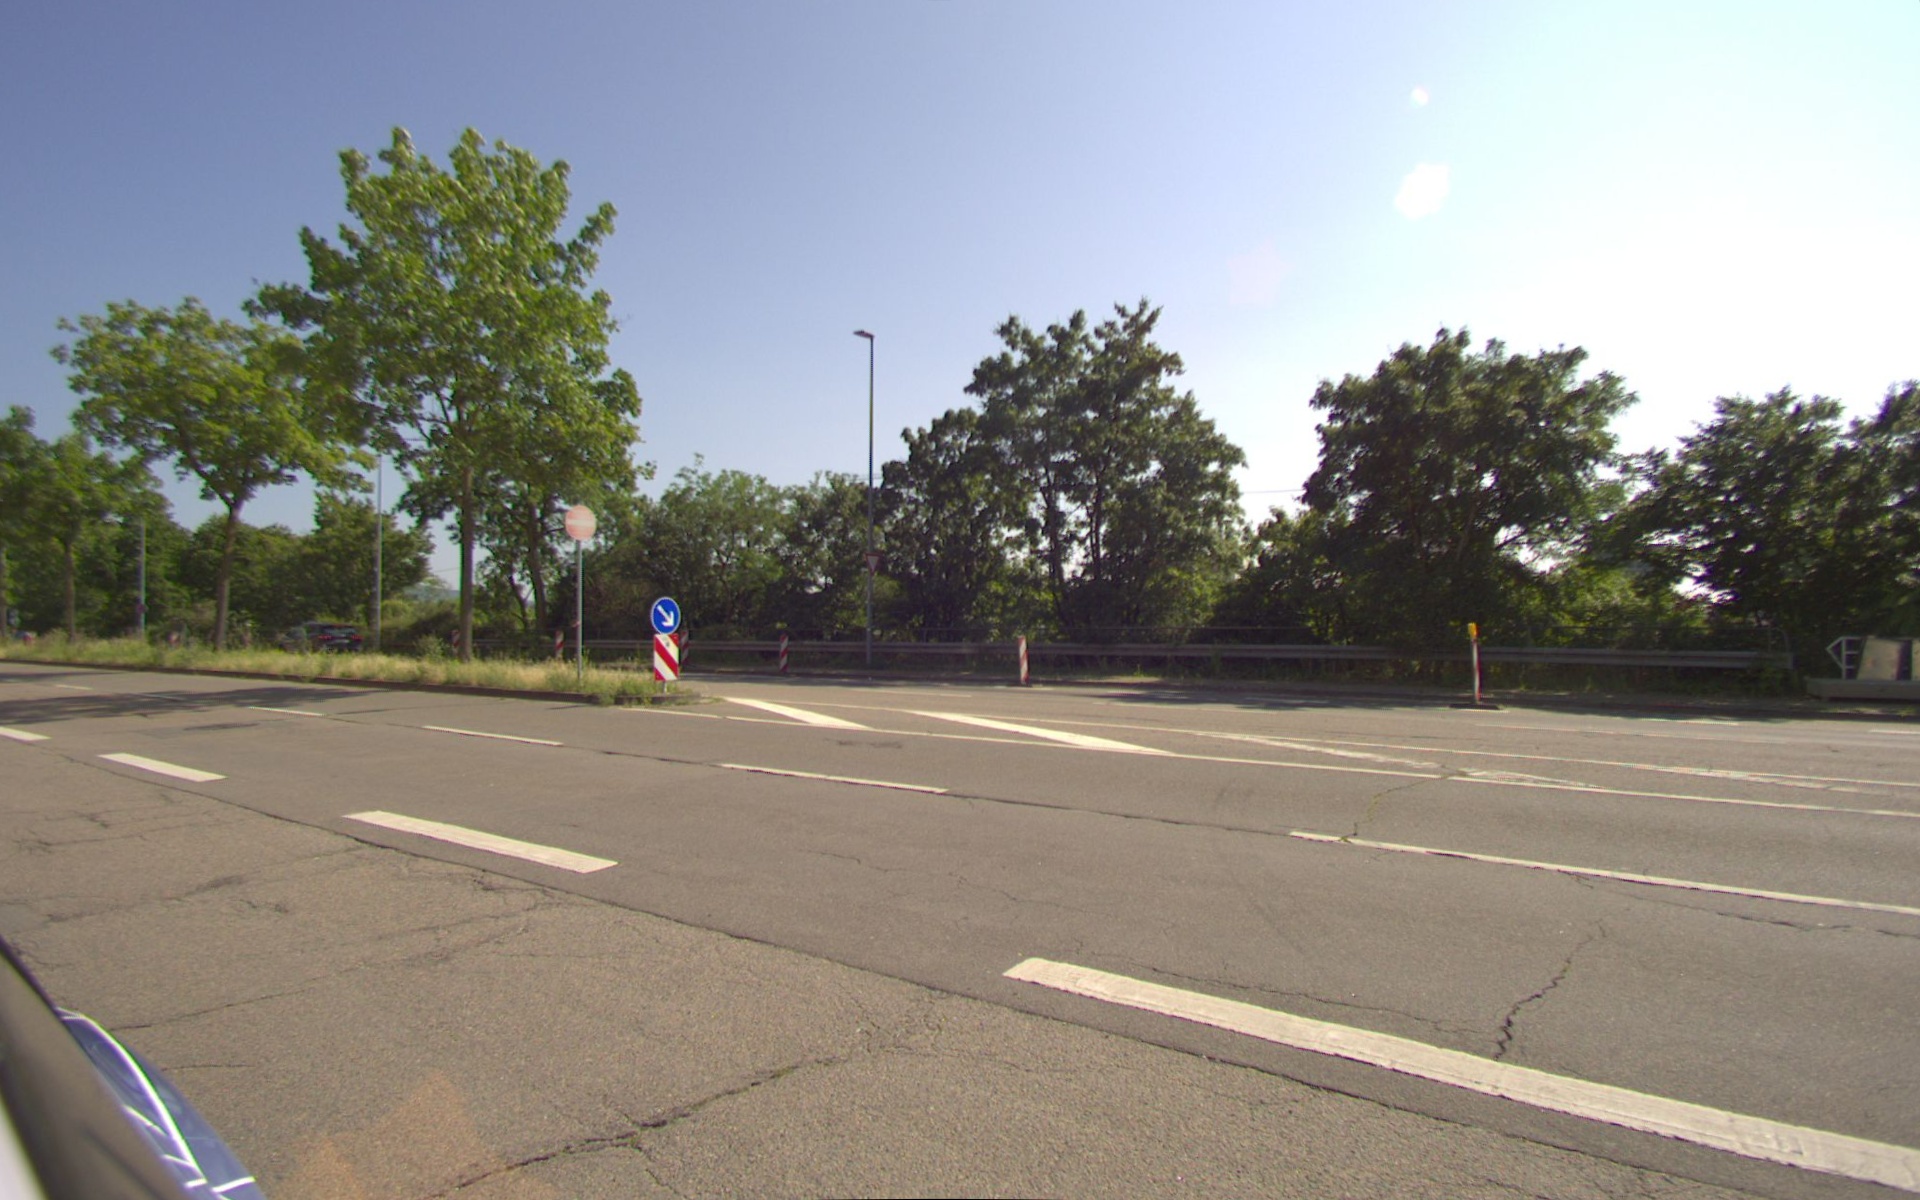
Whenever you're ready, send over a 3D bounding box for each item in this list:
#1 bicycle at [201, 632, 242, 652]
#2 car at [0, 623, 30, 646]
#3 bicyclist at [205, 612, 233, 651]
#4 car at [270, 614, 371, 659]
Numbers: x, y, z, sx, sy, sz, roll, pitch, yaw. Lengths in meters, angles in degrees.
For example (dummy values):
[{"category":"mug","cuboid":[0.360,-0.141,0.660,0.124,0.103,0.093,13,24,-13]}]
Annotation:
[{"category":"bicycle","cuboid":[-35.274,2.008,48.339,2.332,0.912,0.688,-1,-1,30]},{"category":"car","cuboid":[-64.511,2.320,68.413,4.078,1.485,1.747,-1,-2,37]},{"category":"bicyclist","cuboid":[-35.486,1.504,48.465,1.012,1.846,0.692,-1,-2,29]},{"category":"car","cuboid":[-26.378,1.465,41.717,4.721,1.747,1.975,-1,-2,37]}]
